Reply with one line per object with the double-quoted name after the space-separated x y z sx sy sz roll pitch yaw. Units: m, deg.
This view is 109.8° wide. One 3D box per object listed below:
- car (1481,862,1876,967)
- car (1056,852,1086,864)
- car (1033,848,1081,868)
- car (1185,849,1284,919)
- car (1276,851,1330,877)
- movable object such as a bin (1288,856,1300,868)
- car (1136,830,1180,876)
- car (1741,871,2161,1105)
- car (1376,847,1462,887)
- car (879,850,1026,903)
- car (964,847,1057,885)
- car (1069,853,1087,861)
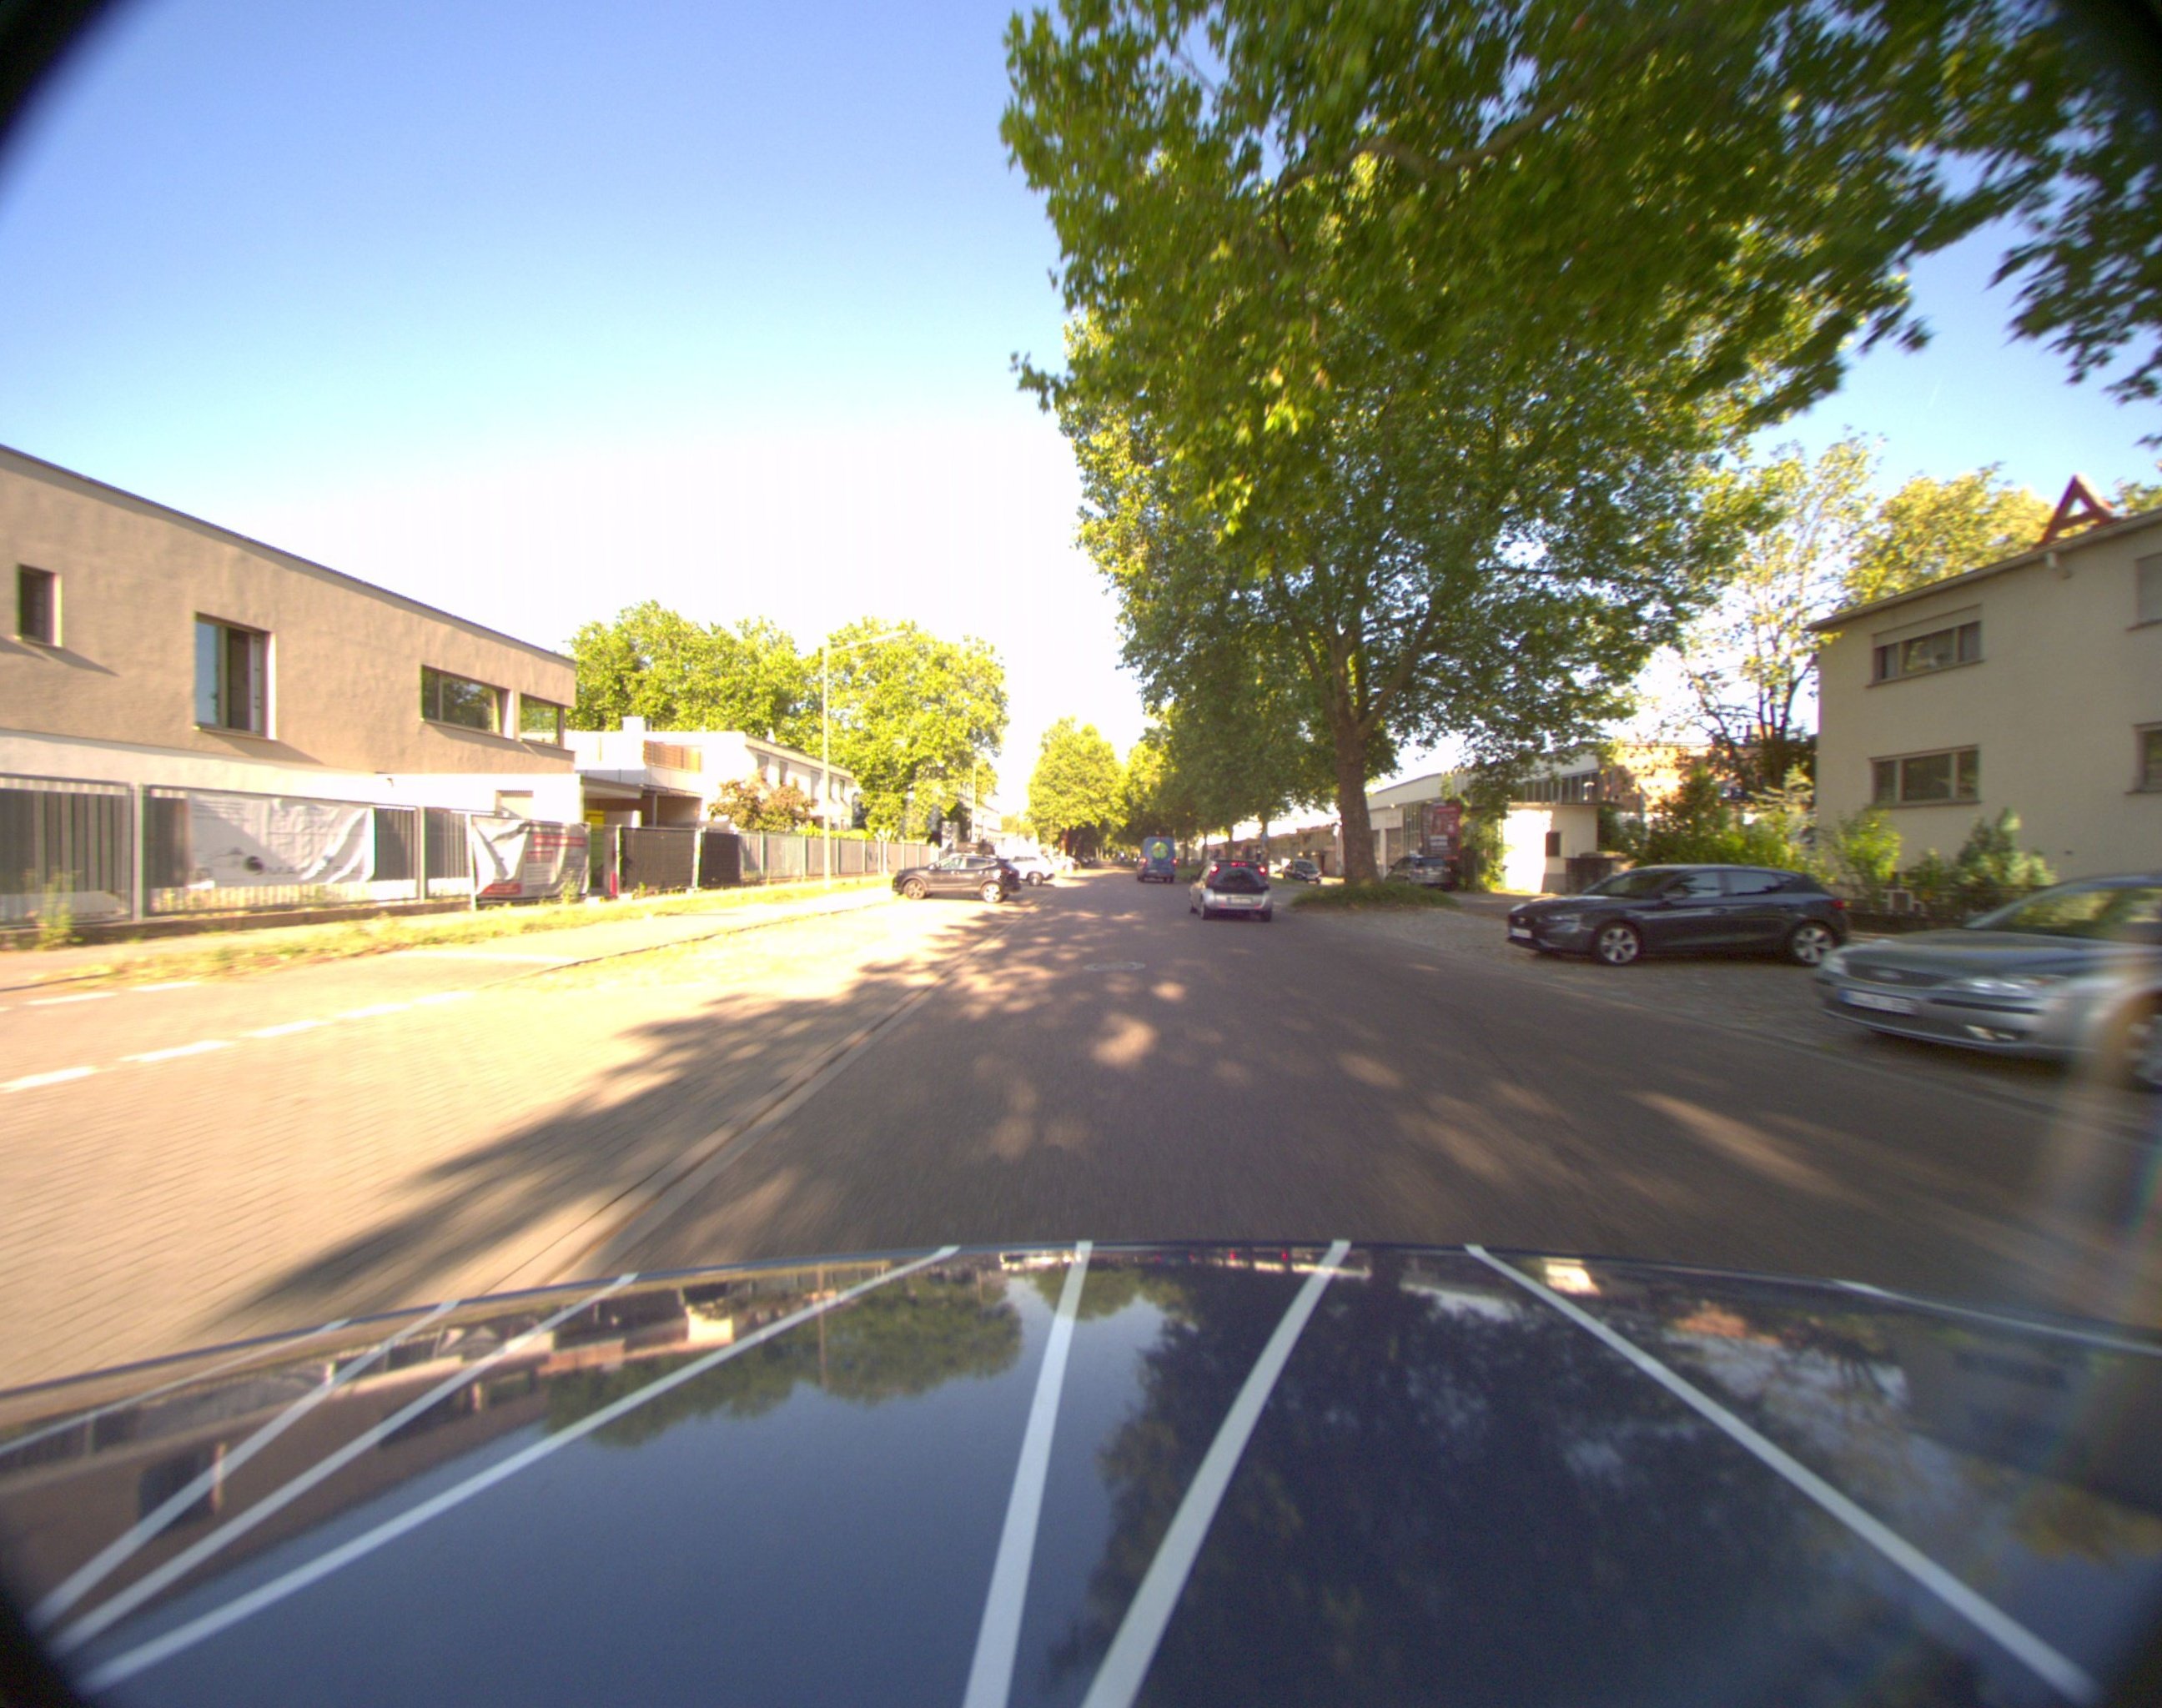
8.691 0.831 11.374 4.365 1.414 2.000 0 0 -1 "car"
-1.415 0.620 111.112 4.295 1.477 1.860 4 1 0 "car"
-2.358 0.406 74.078 4.582 1.706 1.943 3 1 -2 "car"
3.869 0.702 19.781 1.843 1.562 3.802 2 1 1 "car"
14.010 0.609 48.161 1.999 1.362 3.919 4 0 -3 "car"
26.278 1.029 93.700 1.059 1.423 1.573 -1 1 -1 "movable object such as a bin"
4.668 -0.035 47.009 2.133 2.644 7.002 1 0 2 "car"
8.100 0.850 5.662 4.611 1.413 2.000 0 0 1 "car"
14.601 0.520 33.108 1.998 1.567 4.273 -1 1 3 "car"
-4.338 0.739 26.182 4.636 1.518 2.000 3 1 0 "car"
-3.652 0.604 39.942 4.636 1.702 2.000 3 1 0 "car"
-0.634 0.693 165.095 3.943 1.504 1.667 2 1 1 "car"
